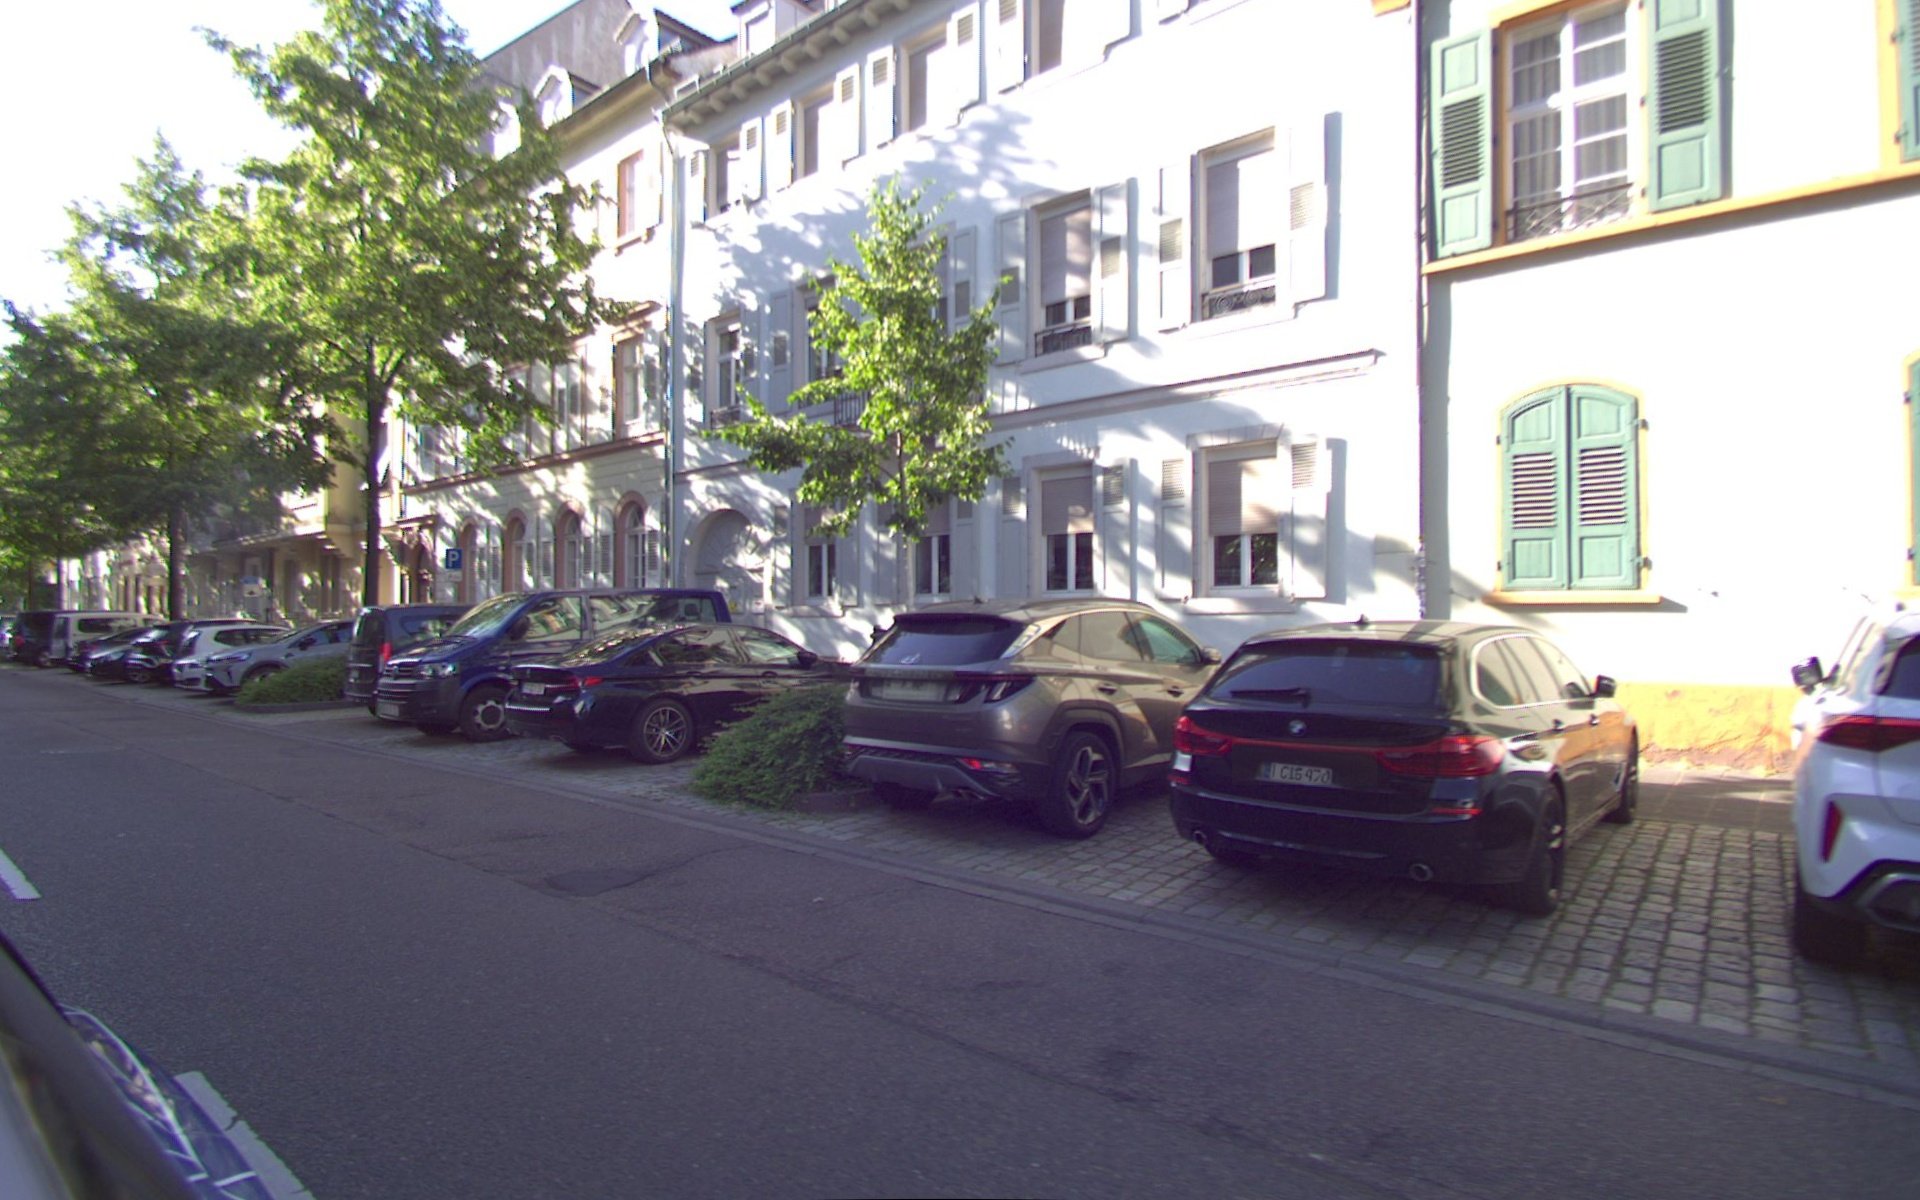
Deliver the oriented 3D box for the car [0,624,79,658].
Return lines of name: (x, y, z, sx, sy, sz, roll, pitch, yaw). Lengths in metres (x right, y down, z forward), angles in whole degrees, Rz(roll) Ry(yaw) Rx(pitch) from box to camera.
car: (-46.888, 2.034, 50.091, 1.996, 1.503, 4.658, 0, 0, 36)

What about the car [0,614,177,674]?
car: (-30.341, 1.476, 35.299, 1.930, 1.941, 4.523, -1, -2, 43)

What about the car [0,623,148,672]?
car: (-34.139, 1.778, 38.856, 1.914, 1.746, 4.297, -1, -1, 38)

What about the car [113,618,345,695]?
car: (-18.087, 1.318, 25.236, 1.911, 1.722, 4.304, -1, -1, 33)

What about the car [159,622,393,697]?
car: (-16.192, 1.340, 24.139, 1.808, 1.594, 4.295, -1, -1, 40)

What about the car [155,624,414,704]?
car: (-14.773, 1.325, 22.343, 1.915, 1.552, 4.421, -1, -1, 40)

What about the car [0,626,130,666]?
car: (-37.748, 1.896, 42.373, 1.914, 1.556, 4.298, -1, -1, 38)

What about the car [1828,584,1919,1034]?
car: (5.397, 0.745, 4.873, 1.807, 1.584, 4.632, -1, -1, 41)

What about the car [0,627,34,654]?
car: (-56.440, 2.368, 58.418, 1.944, 1.556, 4.292, -1, -2, 42)

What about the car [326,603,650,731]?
car: (-7.540, 0.979, 16.526, 1.916, 1.785, 4.418, -1, -2, 42)

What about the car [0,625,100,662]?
car: (-41.723, 1.938, 45.489, 1.959, 1.556, 4.304, -1, -1, 33)

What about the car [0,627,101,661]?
car: (-44.767, 2.132, 48.967, 1.999, 1.503, 4.649, -3, -1, 42)

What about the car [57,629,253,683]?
car: (-24.114, 1.630, 30.453, 1.914, 1.450, 4.297, -1, -1, 39)

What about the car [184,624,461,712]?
car: (-12.745, 1.274, 20.440, 1.917, 1.552, 4.416, -1, -2, 44)

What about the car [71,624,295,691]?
car: (-20.307, 1.436, 26.600, 1.916, 1.552, 4.418, -1, -2, 42)

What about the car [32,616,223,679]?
car: (-26.351, 1.447, 32.198, 1.909, 1.848, 4.308, -1, -1, 31)

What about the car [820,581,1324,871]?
car: (1.202, 0.790, 8.388, 1.808, 1.725, 4.630, -1, -2, 42)

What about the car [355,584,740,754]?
car: (-5.540, 0.838, 14.107, 1.916, 1.965, 4.631, -1, -2, 41)

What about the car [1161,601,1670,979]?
car: (3.220, 0.810, 6.489, 1.806, 1.531, 4.633, -1, -1, 40)

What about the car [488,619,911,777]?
car: (-2.807, 0.965, 11.792, 1.684, 1.470, 4.594, -1, -2, 43)

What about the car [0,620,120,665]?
car: (-39.581, 1.807, 44.058, 1.927, 1.838, 4.298, -1, -1, 38)
